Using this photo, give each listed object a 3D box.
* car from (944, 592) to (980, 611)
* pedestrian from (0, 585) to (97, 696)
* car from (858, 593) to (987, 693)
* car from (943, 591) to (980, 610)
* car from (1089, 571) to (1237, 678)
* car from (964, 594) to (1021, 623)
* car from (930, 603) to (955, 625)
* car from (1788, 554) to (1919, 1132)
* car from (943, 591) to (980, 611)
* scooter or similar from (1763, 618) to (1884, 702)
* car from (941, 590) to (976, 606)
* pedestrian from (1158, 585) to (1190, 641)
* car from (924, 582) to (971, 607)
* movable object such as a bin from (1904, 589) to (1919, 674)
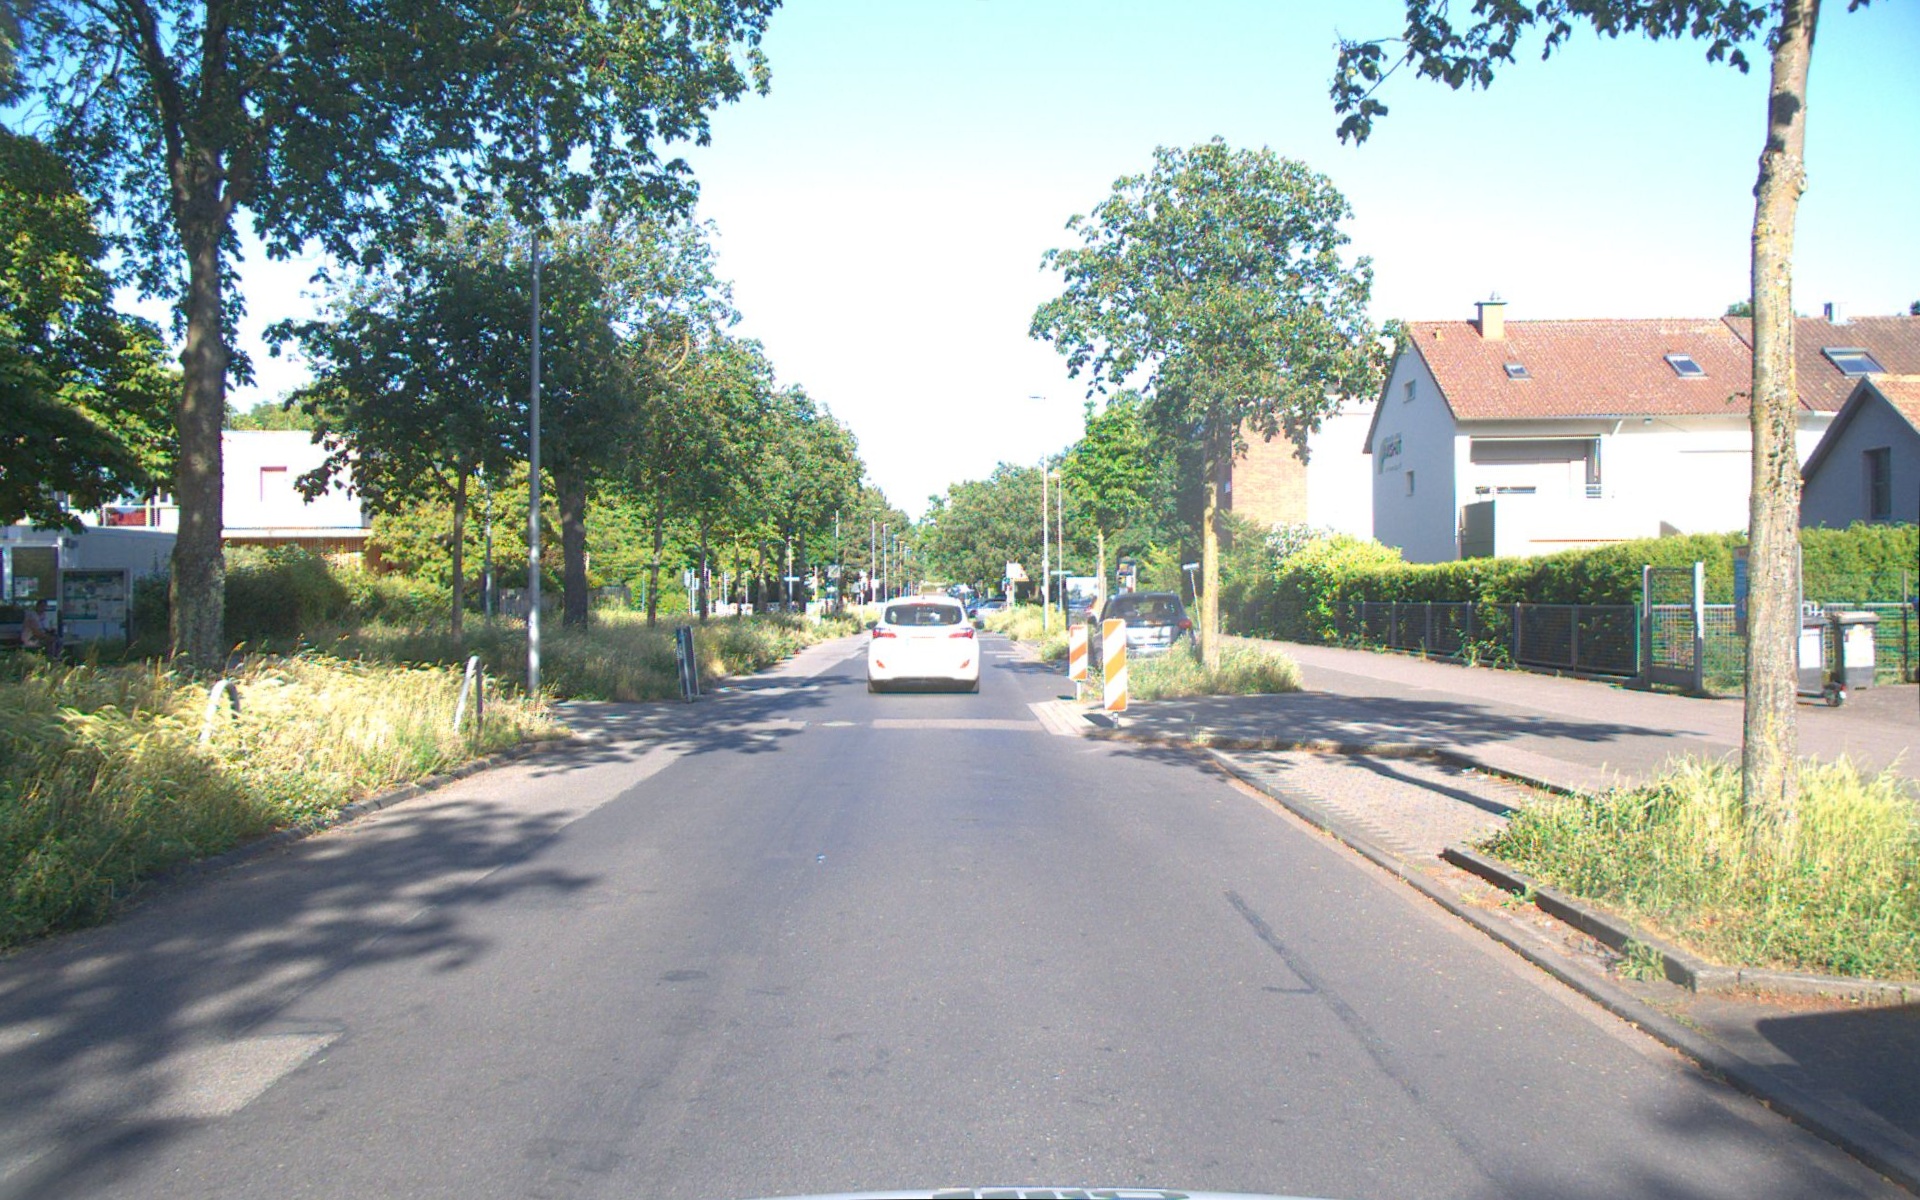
[{"bbox_3d":[0.194,0.109,180.532,3.907,2.049,1.999,0,0,-2],"label":"car"},{"bbox_3d":[-15.821,0.696,28.672,1.205,1.859,1.543,1,-1,-17],"label":"pedestrian"},{"bbox_3d":[-0.626,0.646,27.102,1.953,1.480,4.223,0,0,-2],"label":"car"},{"bbox_3d":[0.154,0.055,177.807,3.907,2.049,1.999,0,0,-2],"label":"car"},{"bbox_3d":[3.600,0.431,30.093,1.954,1.758,3.997,-2,0,-3],"label":"car"},{"bbox_3d":[1.901,0.488,94.939,1.954,1.534,3.656,3,0,24],"label":"car"},{"bbox_3d":[-1.325,1.004,122.940,1.780,1.534,3.657,3,0,-1],"label":"car"},{"bbox_3d":[3.561,0.727,3.269,1.577,1.650,4.381,3,0,0],"label":"car"},{"bbox_3d":[0.171,0.122,175.237,3.907,2.049,1.999,0,0,-2],"label":"car"},{"bbox_3d":[9.595,0.653,18.425,0.361,0.873,1.407,0,0,-14],"label":"scooter or similar"},{"bbox_3d":[-0.186,-0.247,190.791,3.908,1.780,1.999,0,0,-3],"label":"car"},{"bbox_3d":[7.959,0.481,61.574,1.090,2.049,0.921,0,0,-1],"label":"pedestrian"},{"bbox_3d":[-1.088,-0.438,138.582,3.907,2.049,1.999,0,0,-2],"label":"car"},{"bbox_3d":[12.197,0.389,20.513,0.483,1.049,0.747,-3,0,-2],"label":"movable object such as a bin"}]
